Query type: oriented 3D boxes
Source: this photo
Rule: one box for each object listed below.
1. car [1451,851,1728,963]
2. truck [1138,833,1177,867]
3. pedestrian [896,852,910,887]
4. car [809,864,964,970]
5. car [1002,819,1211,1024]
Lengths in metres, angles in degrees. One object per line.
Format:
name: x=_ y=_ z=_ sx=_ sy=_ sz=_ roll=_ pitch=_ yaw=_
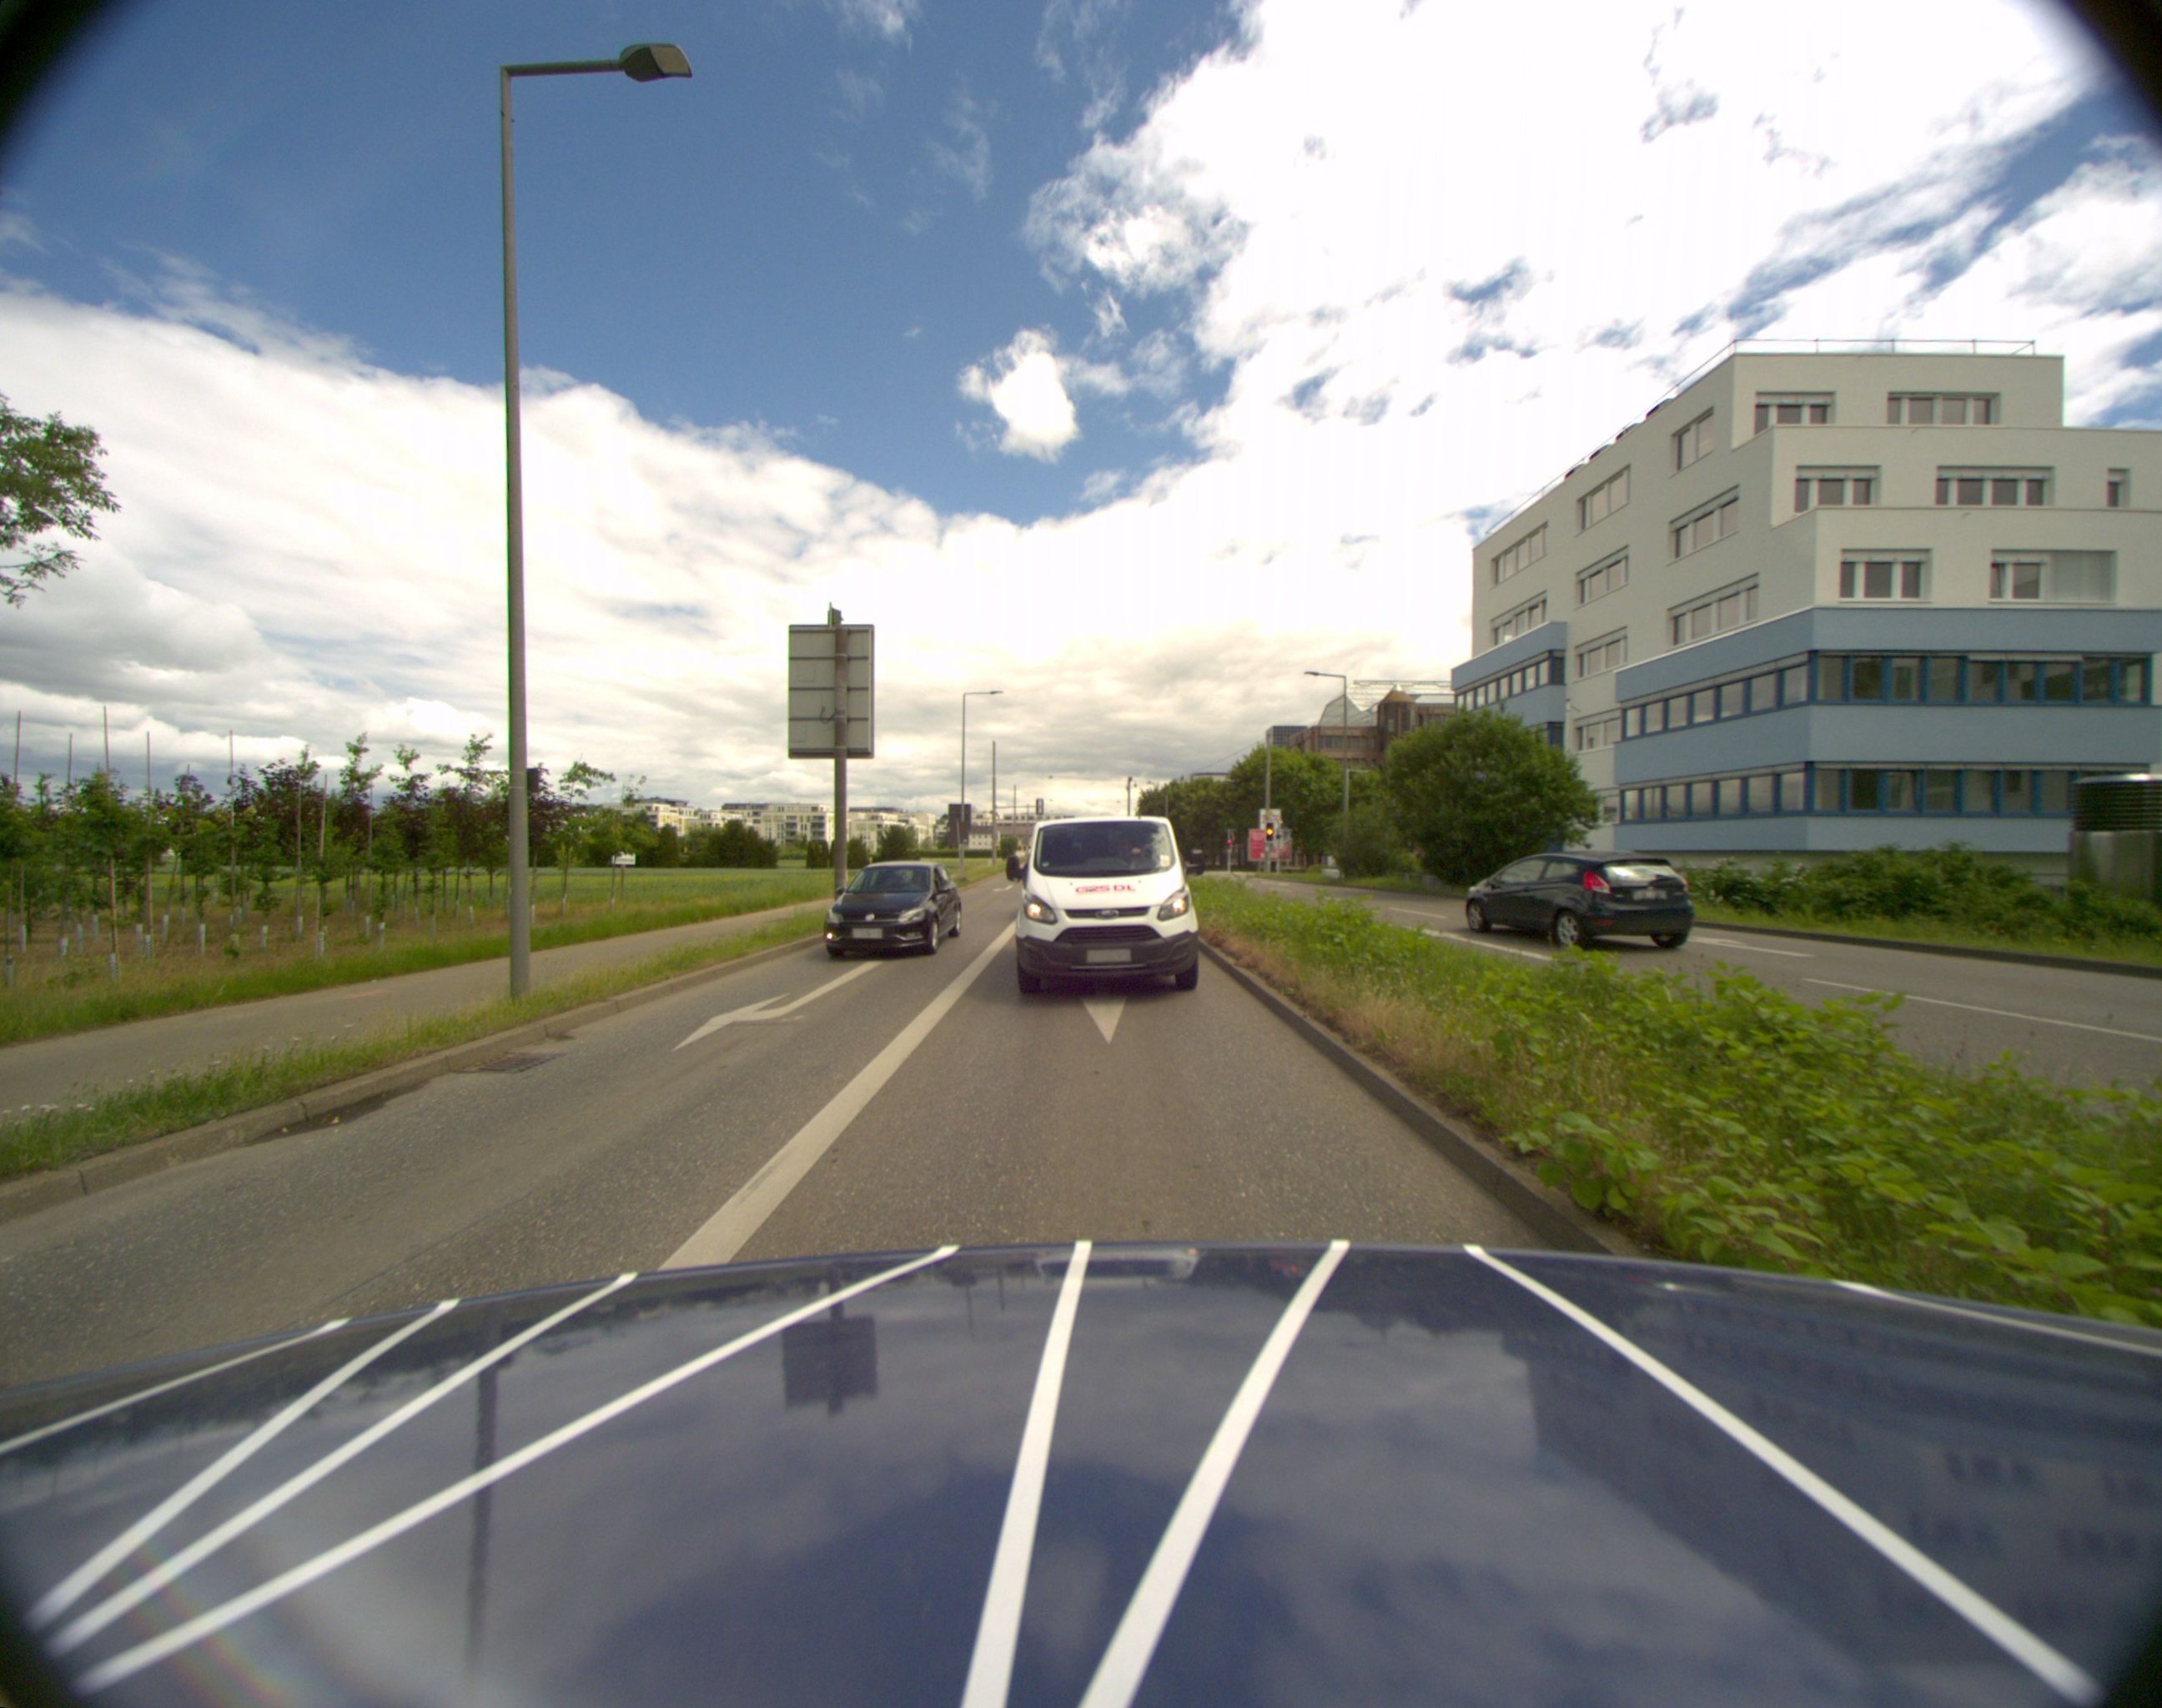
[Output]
car: x=7.930 y=0.721 z=12.368 sx=1.759 sy=1.438 sz=3.890 roll=-2 pitch=1 yaw=-3
truck: x=8.257 y=-0.475 z=82.900 sx=3.176 sy=3.498 sz=9.524 roll=0 pitch=1 yaw=0
pedestrian: x=-8.795 y=0.766 z=37.533 sx=0.492 sy=1.693 sz=0.625 roll=-2 pitch=1 yaw=-1
car: x=-3.091 y=0.940 z=12.848 sx=1.683 sy=1.410 sz=3.739 roll=-1 pitch=1 yaw=-1
car: x=0.269 y=0.636 z=9.852 sx=1.968 sy=1.938 sz=5.054 roll=-1 pitch=0 yaw=1
